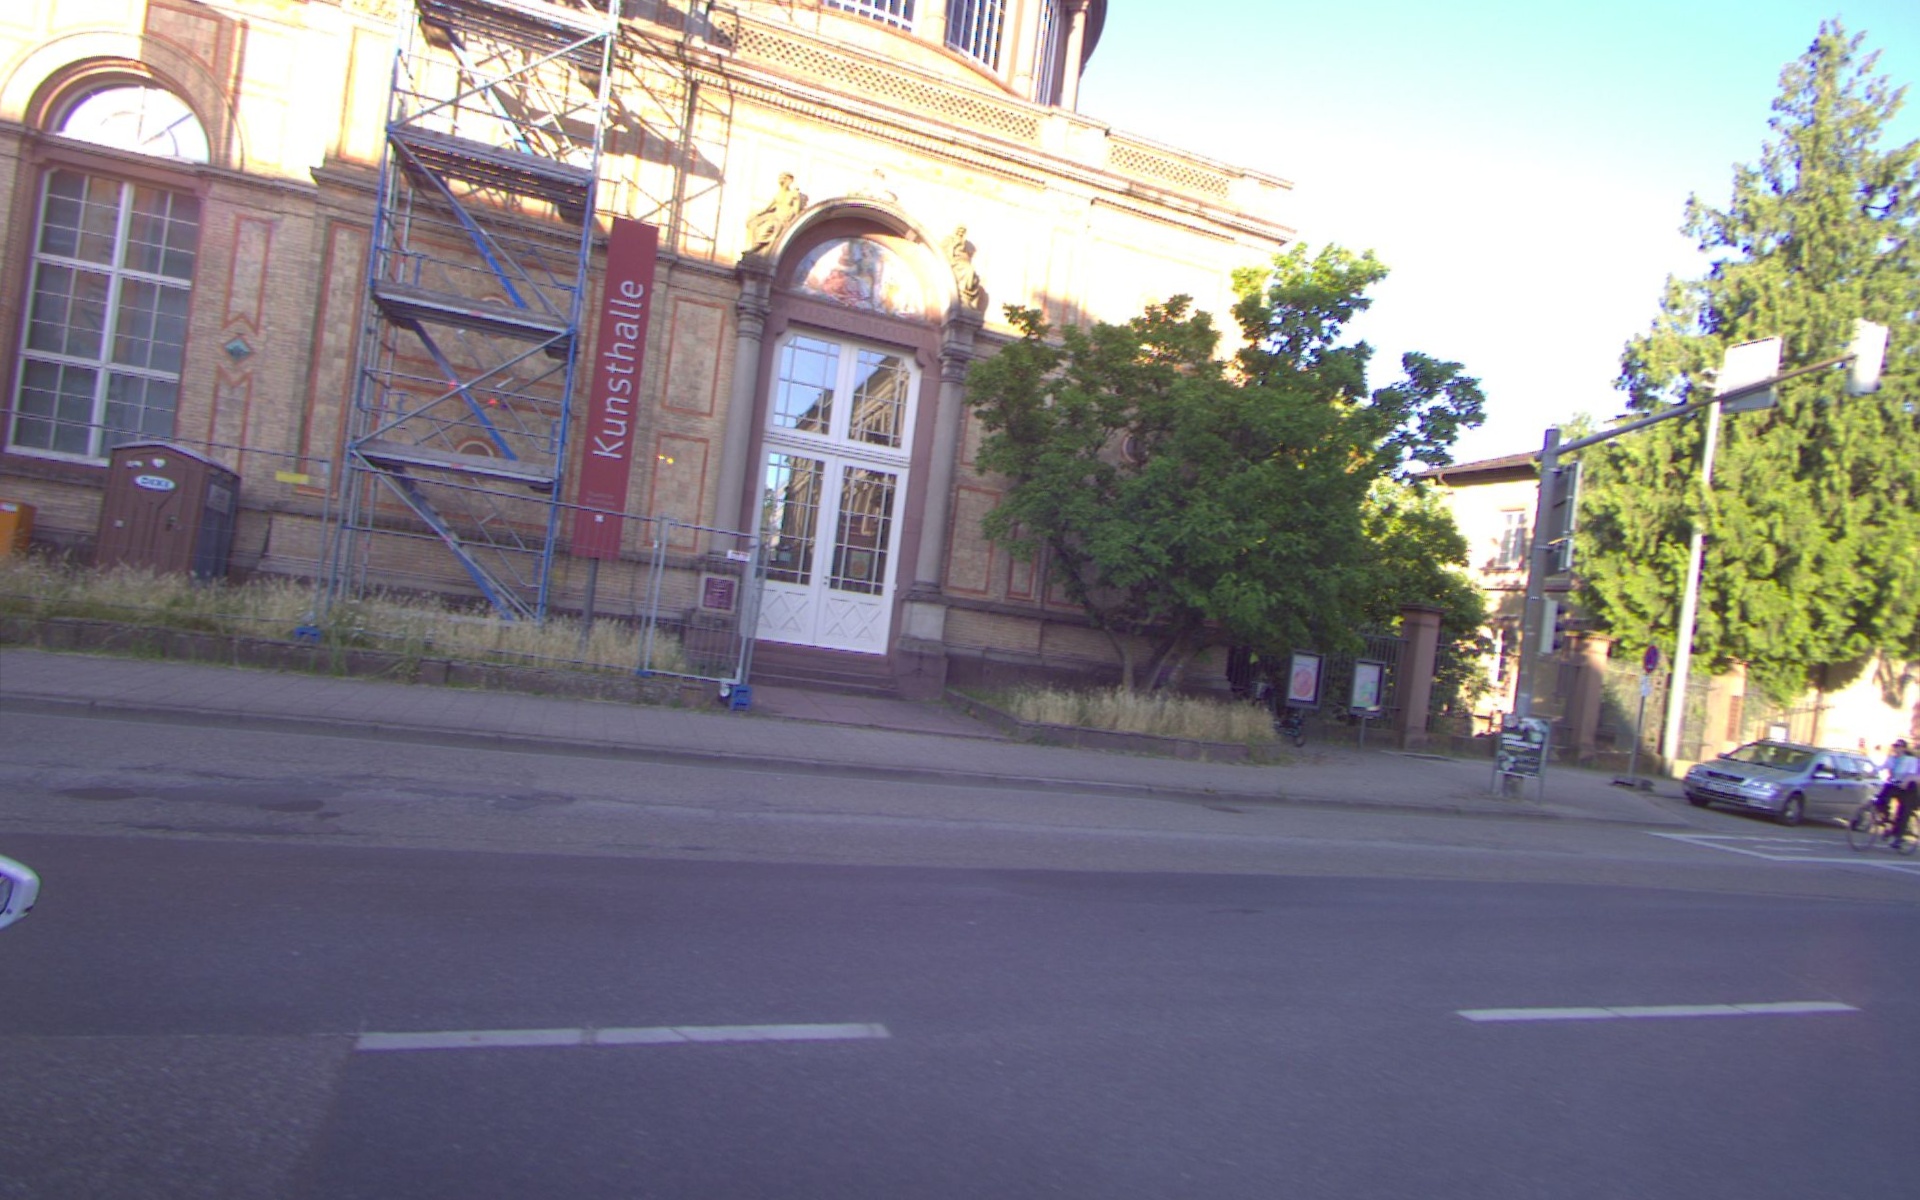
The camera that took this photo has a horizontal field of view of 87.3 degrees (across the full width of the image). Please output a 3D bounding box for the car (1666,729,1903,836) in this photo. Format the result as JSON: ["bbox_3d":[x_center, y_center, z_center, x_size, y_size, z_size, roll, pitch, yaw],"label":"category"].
[{"bbox_3d":[15.684,3.470,19.131,4.145,1.462,1.705,8,-1,-24],"label":"car"}]

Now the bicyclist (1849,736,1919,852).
[{"bbox_3d":[14.515,3.015,15.719,0.513,1.662,0.665,7,-2,-17],"label":"bicyclist"}]

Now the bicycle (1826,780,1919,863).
[{"bbox_3d":[14.358,3.458,15.648,1.643,1.113,0.494,7,-2,-17],"label":"bicycle"}]
